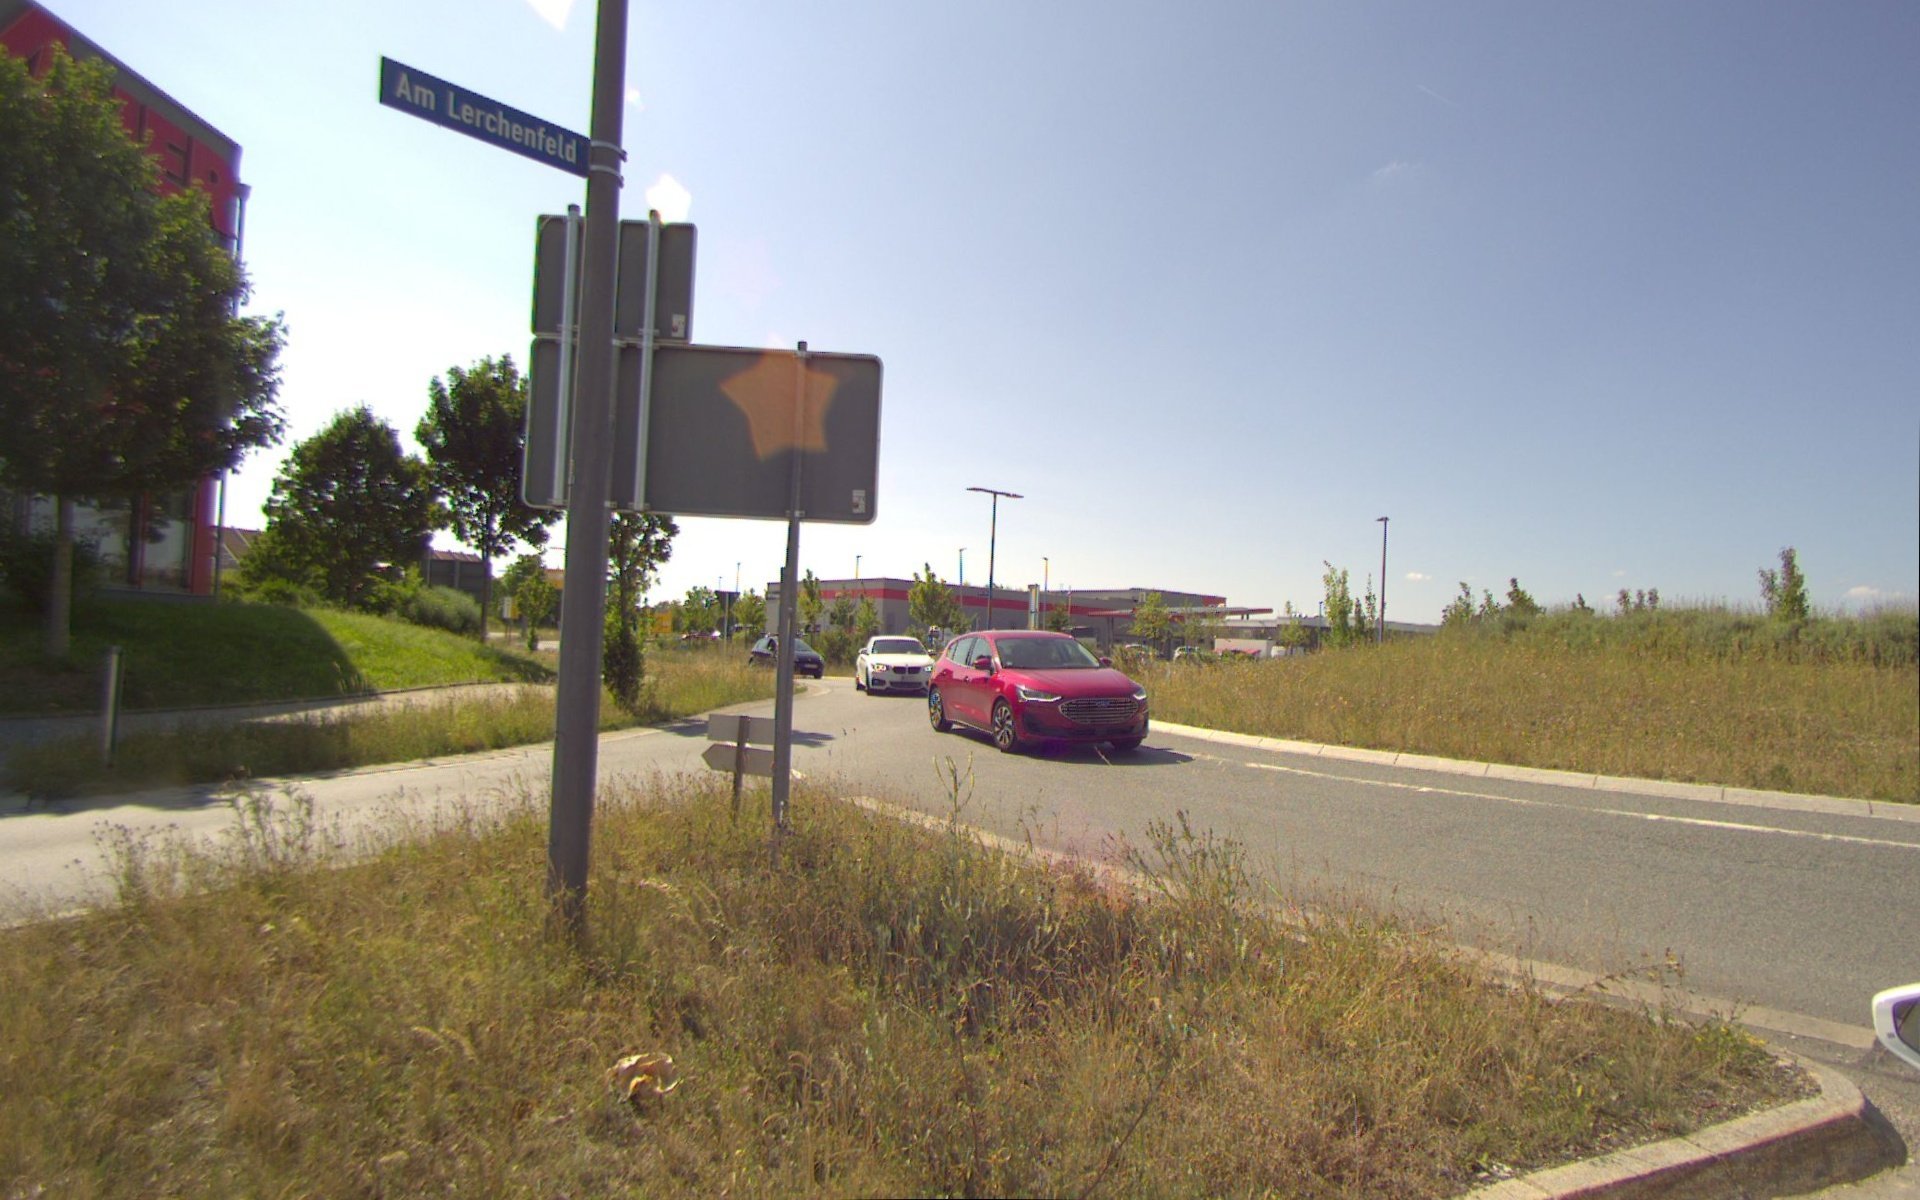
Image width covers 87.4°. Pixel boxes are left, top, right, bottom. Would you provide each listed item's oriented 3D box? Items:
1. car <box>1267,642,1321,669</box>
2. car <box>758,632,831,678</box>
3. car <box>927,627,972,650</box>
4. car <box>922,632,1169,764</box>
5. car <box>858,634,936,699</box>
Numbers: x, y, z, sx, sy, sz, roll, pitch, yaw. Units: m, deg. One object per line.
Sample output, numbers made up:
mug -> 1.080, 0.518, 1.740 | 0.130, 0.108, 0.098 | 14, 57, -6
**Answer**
car -> 27.969, 4.633, 84.118 | 5.099, 2.040, 1.976 | 5, -3, -42
car -> -6.124, 1.986, 36.853 | 1.623, 1.507, 3.879 | 2, -2, -25
car -> -0.965, 3.646, 94.501 | 3.972, 2.040, 1.975 | 4, -3, -43
car -> 0.927, 1.157, 13.246 | 1.780, 1.434, 4.101 | 1, -2, -18
car -> -1.549, 1.628, 25.411 | 1.762, 1.434, 4.381 | 2, -2, -3
